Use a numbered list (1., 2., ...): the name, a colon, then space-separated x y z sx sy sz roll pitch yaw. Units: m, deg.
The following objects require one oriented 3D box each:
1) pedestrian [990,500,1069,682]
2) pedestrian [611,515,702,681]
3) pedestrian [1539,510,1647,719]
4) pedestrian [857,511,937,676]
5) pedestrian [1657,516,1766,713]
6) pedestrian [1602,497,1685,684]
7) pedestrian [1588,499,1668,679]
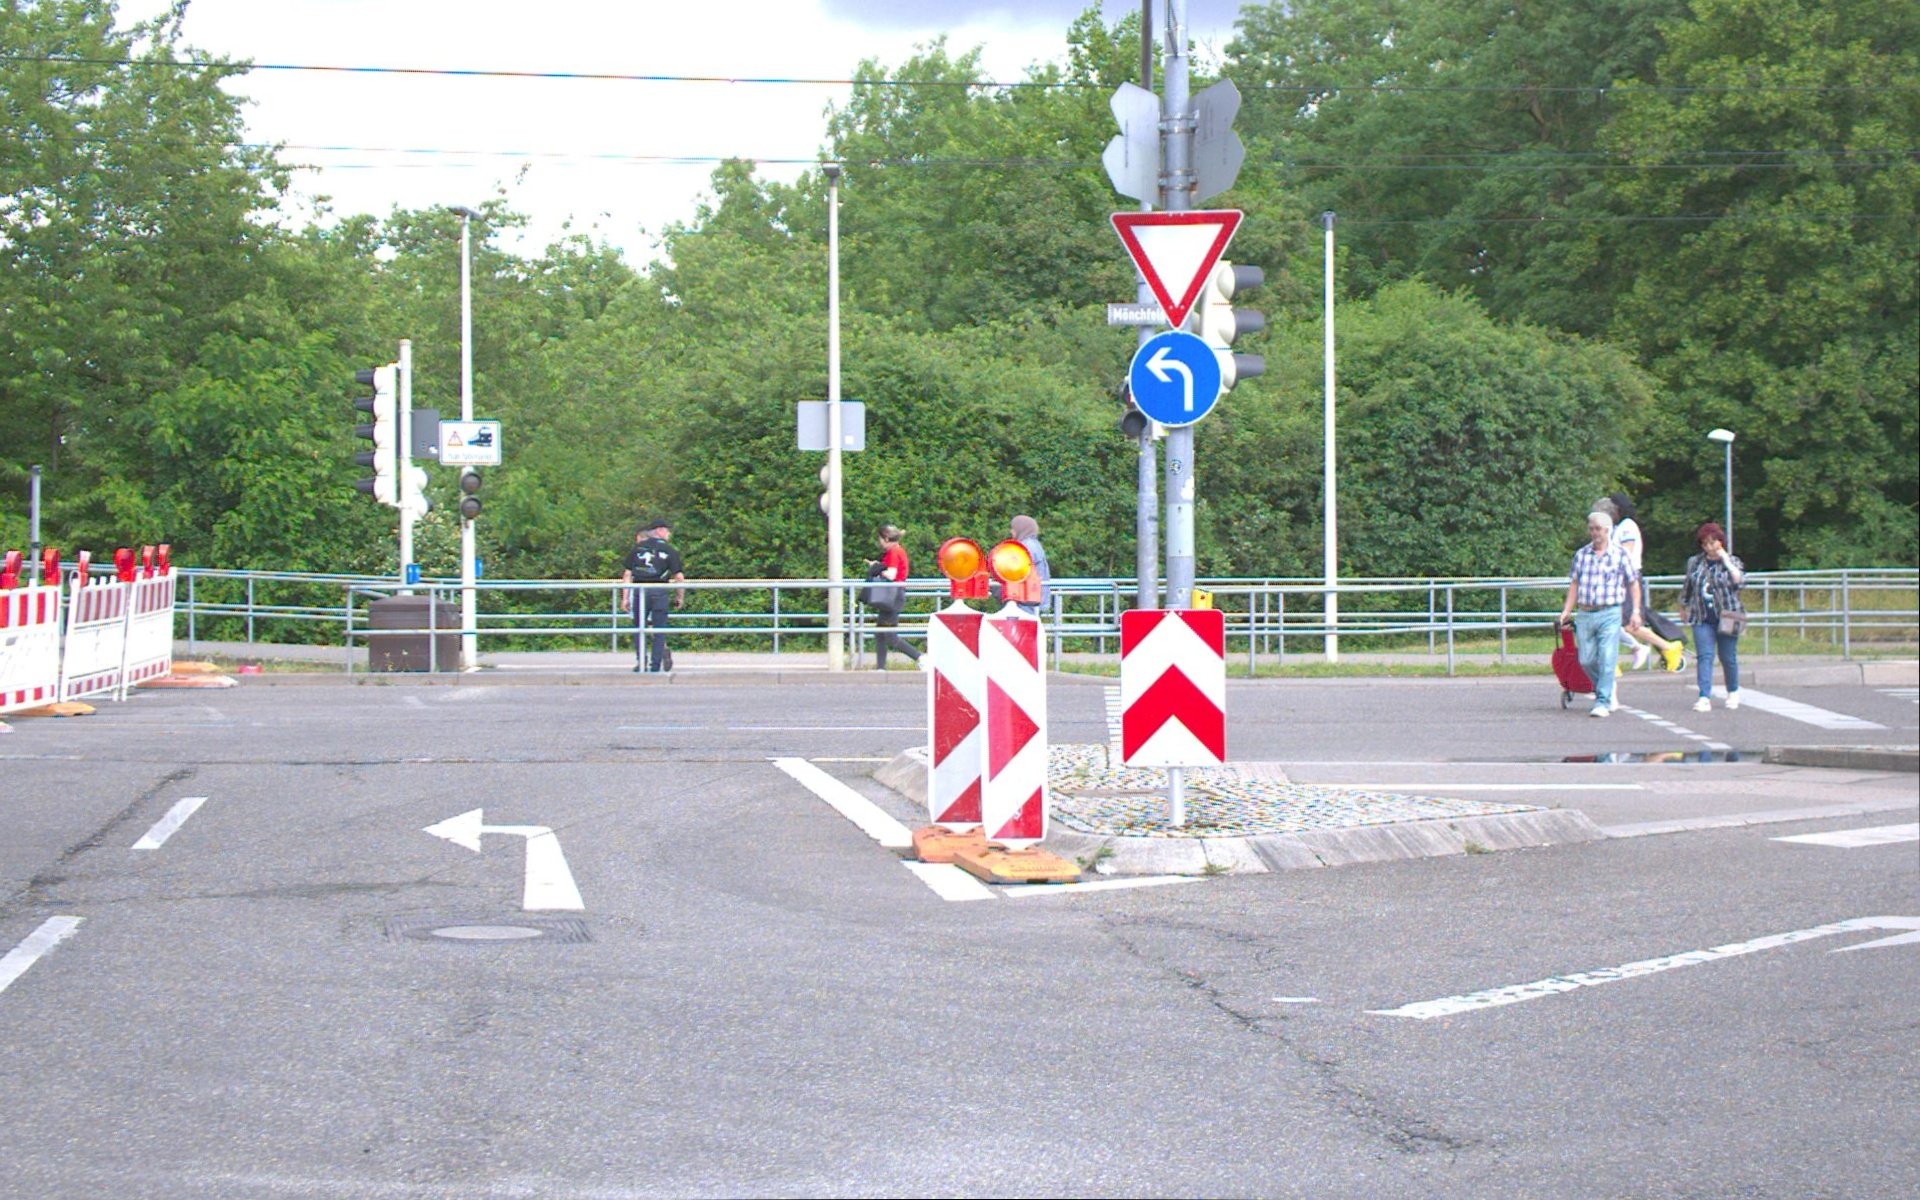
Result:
1. pedestrian: 0.680 -0.093 33.416 0.720 1.742 0.957 0 1 3
2. pedestrian: -3.240 -0.028 36.663 0.954 1.742 0.723 0 1 -6
3. pedestrian: 5.002 0.105 27.170 0.697 1.628 0.722 1 1 22
4. pedestrian: -0.623 -0.071 34.245 0.720 1.616 0.805 0 1 3
5. pedestrian: 6.096 0.108 27.865 0.691 1.561 0.731 1 1 27
6. pedestrian: 6.479 -0.098 32.605 0.720 1.742 0.957 1 1 9
7. pedestrian: 6.570 -0.116 33.850 0.720 1.742 0.957 1 1 9
